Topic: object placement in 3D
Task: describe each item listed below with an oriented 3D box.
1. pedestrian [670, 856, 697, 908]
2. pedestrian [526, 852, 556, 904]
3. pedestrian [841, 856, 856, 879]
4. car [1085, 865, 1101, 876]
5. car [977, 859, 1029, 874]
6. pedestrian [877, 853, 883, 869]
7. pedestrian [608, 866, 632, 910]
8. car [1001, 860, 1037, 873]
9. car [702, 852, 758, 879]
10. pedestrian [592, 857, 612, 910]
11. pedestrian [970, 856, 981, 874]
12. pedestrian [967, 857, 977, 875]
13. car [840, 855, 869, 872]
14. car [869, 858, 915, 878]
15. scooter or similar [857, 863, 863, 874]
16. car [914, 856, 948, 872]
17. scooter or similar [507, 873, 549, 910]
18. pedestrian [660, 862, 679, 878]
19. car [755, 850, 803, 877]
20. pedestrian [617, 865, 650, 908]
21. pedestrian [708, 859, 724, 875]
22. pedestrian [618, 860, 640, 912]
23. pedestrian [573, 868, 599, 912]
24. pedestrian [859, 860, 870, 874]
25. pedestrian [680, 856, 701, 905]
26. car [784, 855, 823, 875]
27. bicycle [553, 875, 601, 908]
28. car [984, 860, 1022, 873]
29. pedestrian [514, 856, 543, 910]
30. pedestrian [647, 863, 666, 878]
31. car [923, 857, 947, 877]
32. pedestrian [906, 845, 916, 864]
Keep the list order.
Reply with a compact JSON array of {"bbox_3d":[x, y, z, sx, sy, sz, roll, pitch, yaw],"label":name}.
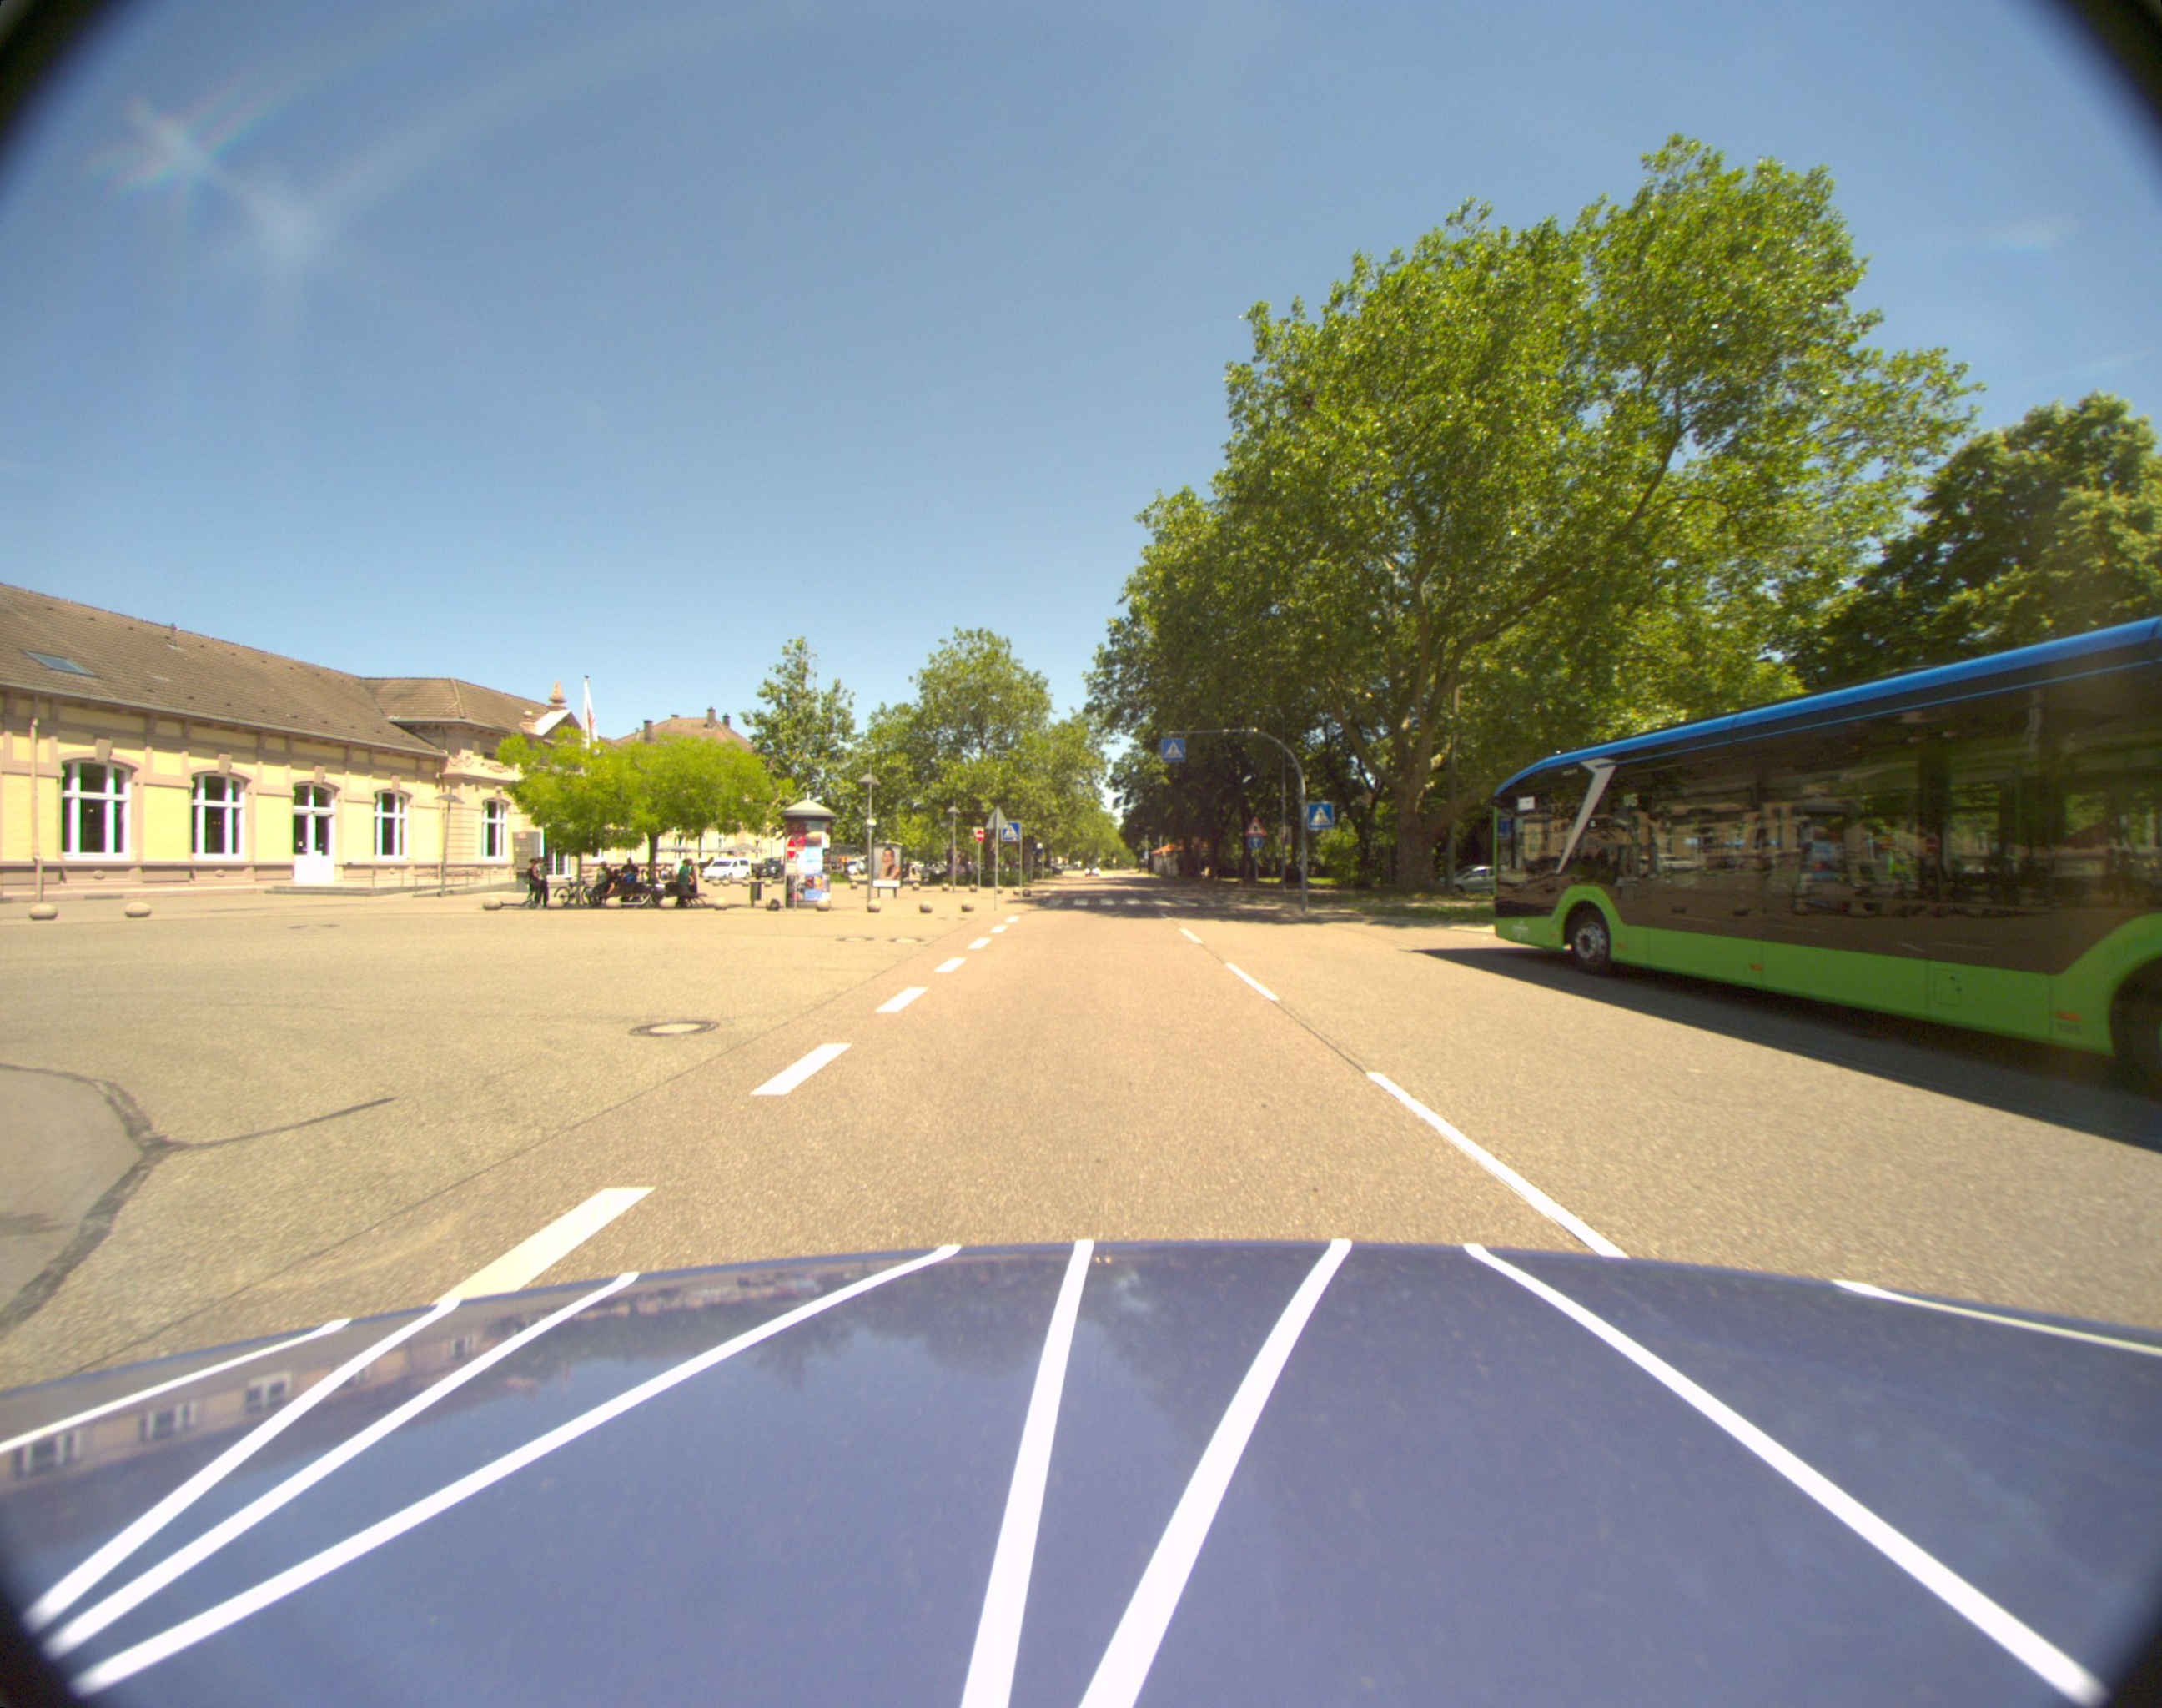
[{"bbox_3d":[-13.379,0.932,25.581,0.694,1.753,0.584,0,0,-15],"label":"pedestrian"},{"bbox_3d":[-17.607,0.777,24.774,0.619,1.675,0.590,0,0,-11],"label":"pedestrian"},{"bbox_3d":[-17.428,1.008,56.840,0.812,1.707,0.775,0,0,44],"label":"pedestrian"},{"bbox_3d":[1.491,2.066,95.991,1.661,1.368,3.450,-3,0,-3],"label":"car"},{"bbox_3d":[-7.578,1.217,73.734,4.782,1.408,1.784,0,0,-18],"label":"car"},{"bbox_3d":[-25.051,0.898,94.679,0.628,1.978,0.617,-2,0,-4],"label":"pedestrian"},{"bbox_3d":[-14.554,1.070,23.990,0.600,1.356,0.598,0,0,-27],"label":"pedestrian"},{"bbox_3d":[-7.151,1.475,87.908,3.882,1.451,1.633,0,0,-27],"label":"car"},{"bbox_3d":[-25.937,0.876,56.317,1.814,1.854,5.139,-1,-1,-1],"label":"car"},{"bbox_3d":[-15.910,0.956,25.262,0.513,1.729,0.569,0,0,-28],"label":"pedestrian"},{"bbox_3d":[-10.011,1.041,71.957,0.839,1.760,0.850,0,0,-19],"label":"pedestrian"},{"bbox_3d":[-10.482,1.131,73.028,0.839,1.760,0.850,0,0,-18],"label":"pedestrian"},{"bbox_3d":[-25.280,1.059,85.049,2.003,1.829,5.316,-2,0,-4],"label":"car"},{"bbox_3d":[-16.757,1.216,67.305,4.516,1.534,1.804,2,2,45],"label":"car"},{"bbox_3d":[-22.355,1.459,76.777,0.436,1.095,0.404,0,0,34],"label":"scooter or similar"},{"bbox_3d":[-16.598,1.099,83.867,1.804,1.596,4.051,-2,2,-44],"label":"car"},{"bbox_3d":[-16.919,1.137,23.251,1.028,1.132,0.294,0,1,-6],"label":"scooter or similar"},{"bbox_3d":[-29.881,1.170,55.204,0.881,1.155,0.851,2,0,-3],"label":"pedestrian"},{"bbox_3d":[-25.339,0.827,63.964,2.093,2.111,5.824,-1,-1,-4],"label":"car"},{"bbox_3d":[-14.820,1.066,25.185,0.914,1.378,0.942,0,0,-28],"label":"pedestrian"},{"bbox_3d":[-30.883,1.101,64.315,0.881,1.363,0.851,2,0,-3],"label":"pedestrian"},{"bbox_3d":[-15.446,1.076,25.985,0.586,1.729,0.598,0,0,-24],"label":"pedestrian"},{"bbox_3d":[-15.394,1.103,23.642,0.600,1.356,0.598,0,0,-27],"label":"pedestrian"},{"bbox_3d":[-21.826,1.296,76.468,0.689,1.416,0.803,0,0,36],"label":"pedestrian"},{"bbox_3d":[-13.896,0.937,27.018,0.628,1.729,0.547,0,0,-24],"label":"pedestrian"},{"bbox_3d":[-25.811,1.053,70.859,2.080,1.829,4.839,-1,-1,-4],"label":"car"},{"bbox_3d":[-17.601,1.279,26.586,0.421,1.054,1.948,0,0,-1],"label":"bicycle"},{"bbox_3d":[-8.632,1.402,84.024,3.882,1.451,1.633,0,0,-27],"label":"car"},{"bbox_3d":[-17.541,0.907,24.140,0.555,1.675,0.587,0,0,-11],"label":"pedestrian"},{"bbox_3d":[-30.822,1.189,55.165,0.881,1.073,0.851,2,0,-3],"label":"pedestrian"},{"bbox_3d":[-11.870,1.049,61.955,1.601,1.584,3.105,0,0,-4],"label":"car"},{"bbox_3d":[-13.641,0.027,60.986,0.591,1.539,0.609,1,0,-40],"label":"pedestrian"}]
